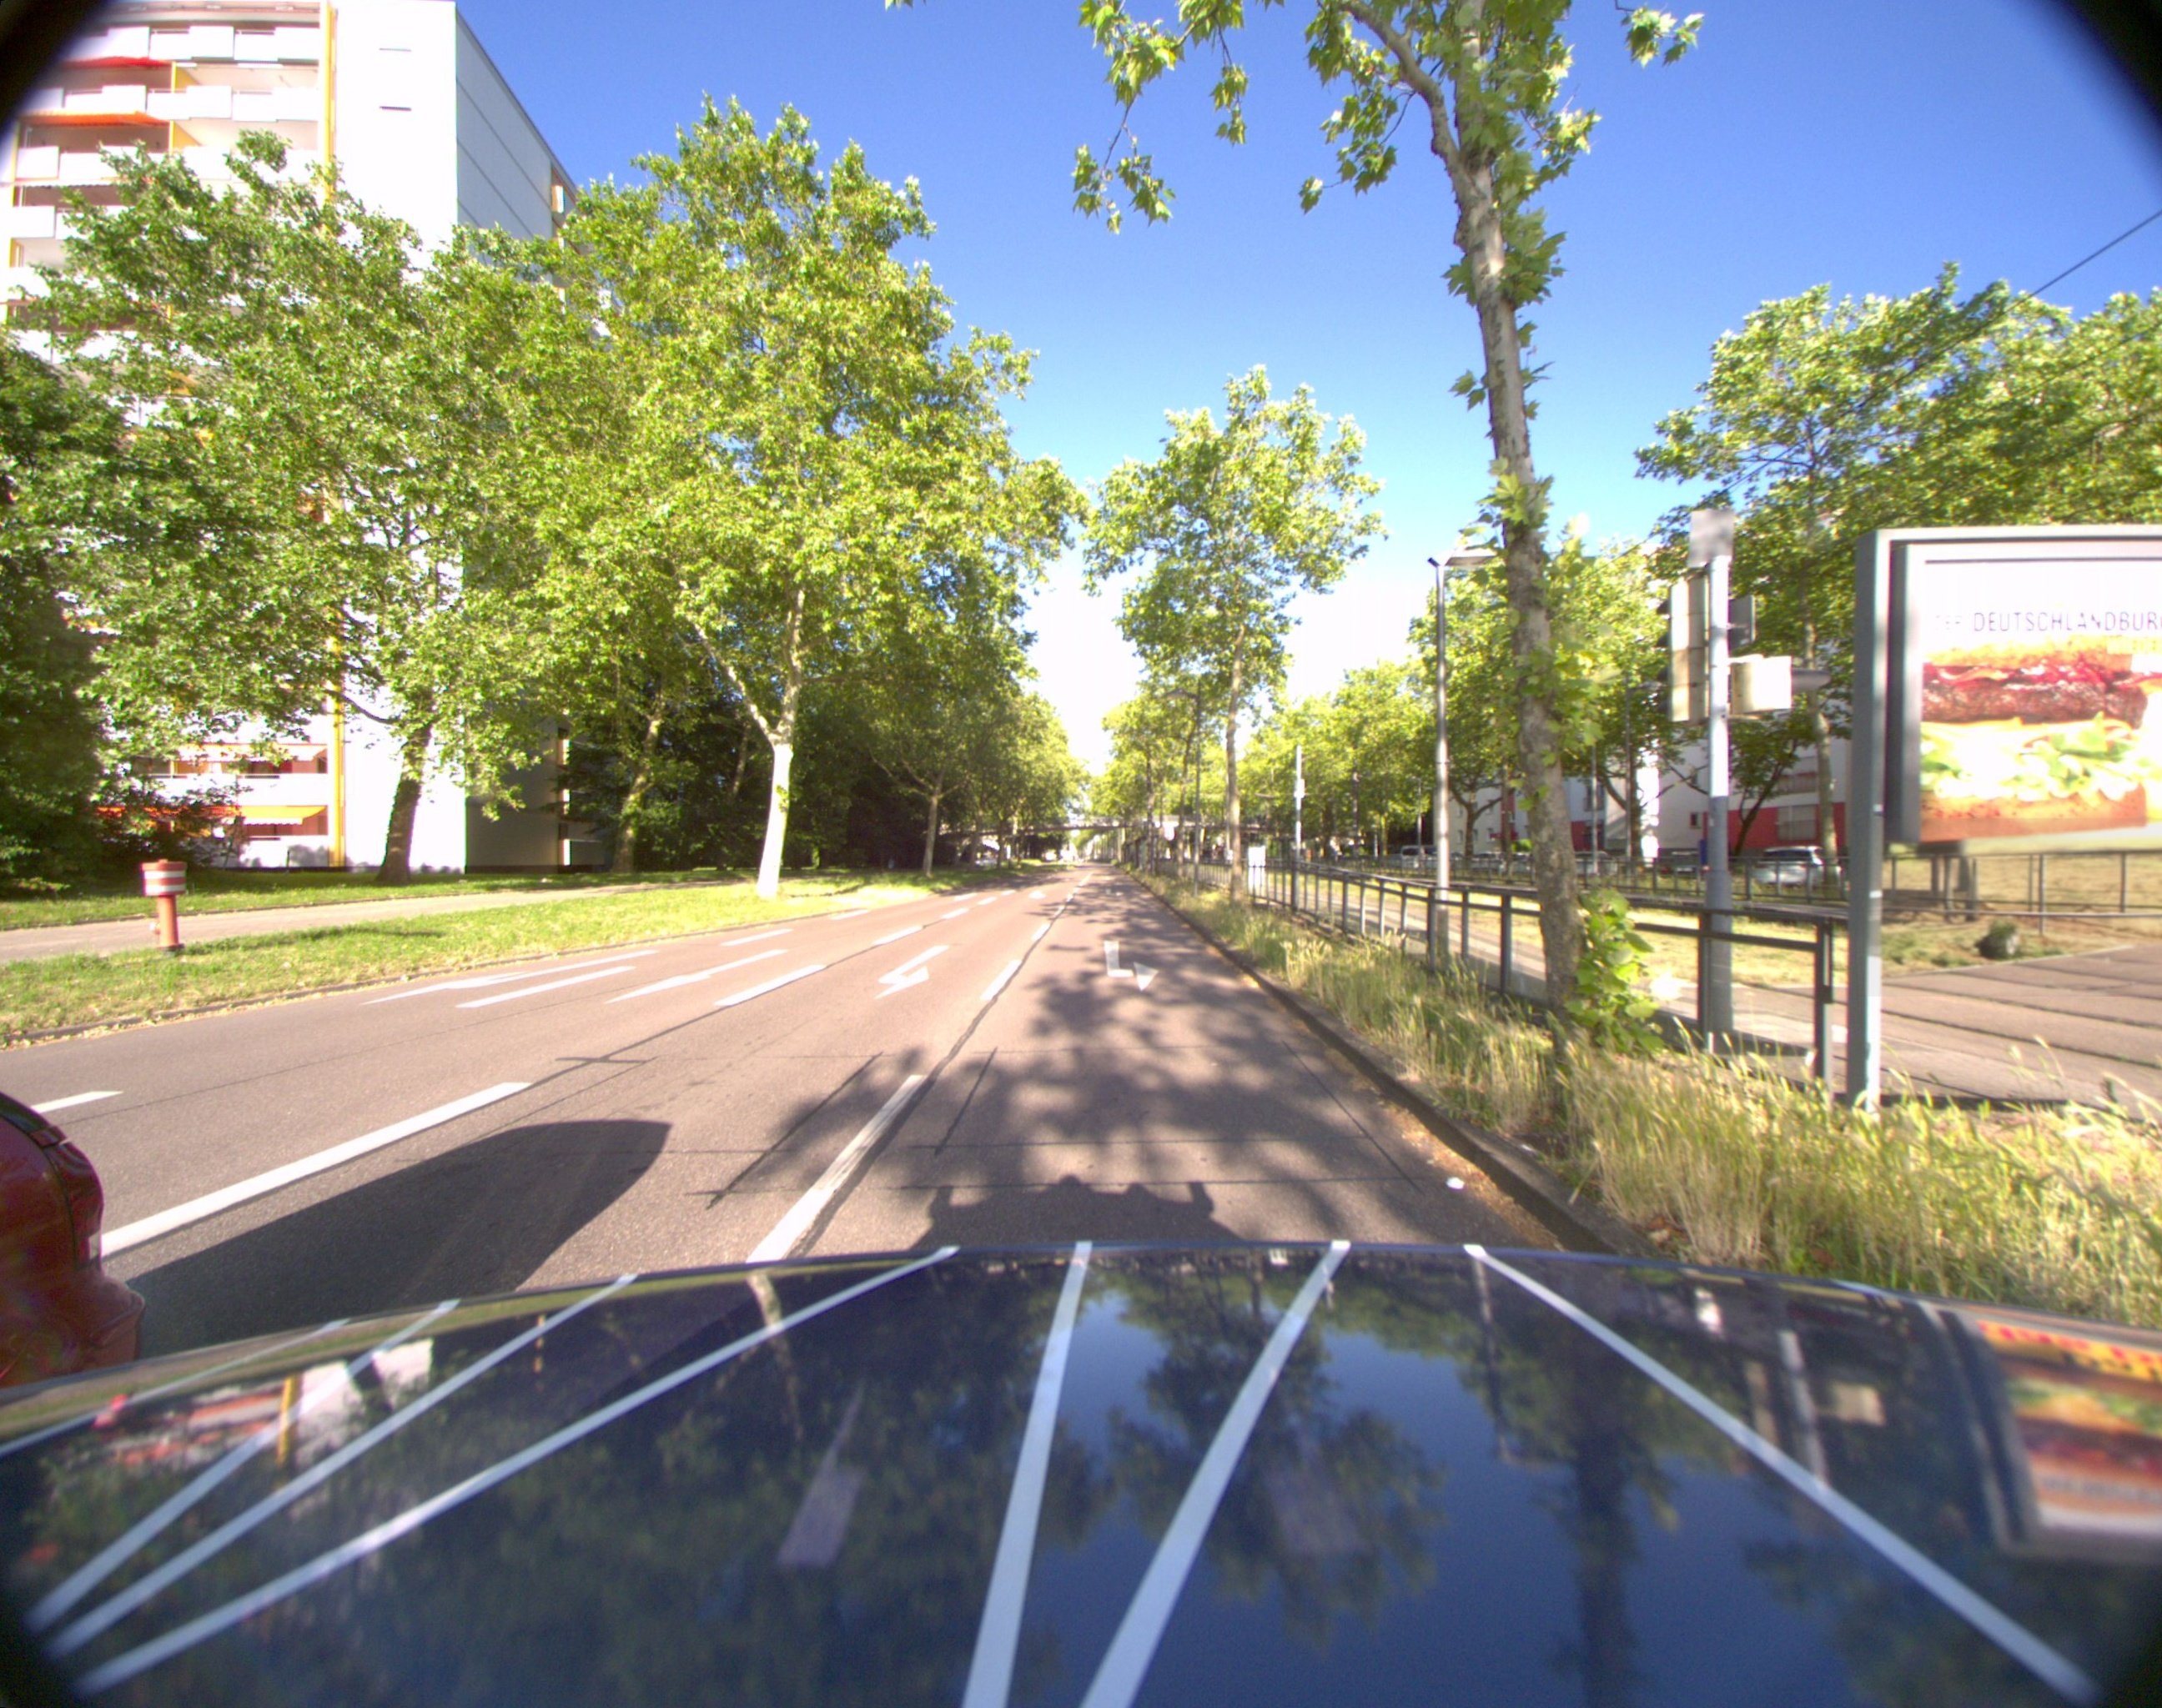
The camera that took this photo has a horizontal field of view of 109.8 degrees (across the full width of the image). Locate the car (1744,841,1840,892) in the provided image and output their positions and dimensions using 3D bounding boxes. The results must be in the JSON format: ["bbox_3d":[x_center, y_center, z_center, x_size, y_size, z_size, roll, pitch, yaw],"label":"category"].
[{"bbox_3d":[25.222,0.407,26.921,4.007,1.586,1.810,-3,1,-37],"label":"car"}]

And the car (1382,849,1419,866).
[{"bbox_3d":[26.907,0.296,63.985,3.494,1.293,1.476,-1,1,-41],"label":"car"}]

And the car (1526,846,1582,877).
[{"bbox_3d":[25.748,0.393,41.347,3.402,1.499,1.461,-3,1,-37],"label":"car"}]

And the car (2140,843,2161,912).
[{"bbox_3d":[24.572,0.537,16.252,4.007,1.479,1.689,-3,1,-44],"label":"car"}]

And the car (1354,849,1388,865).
[{"bbox_3d":[26.611,0.264,69.653,3.494,1.312,1.476,-1,1,-41],"label":"car"}]

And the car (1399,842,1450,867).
[{"bbox_3d":[25.739,0.035,56.875,4.056,1.802,1.864,-1,1,-40],"label":"car"}]

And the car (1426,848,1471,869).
[{"bbox_3d":[26.087,0.324,53.870,3.494,1.395,1.623,-1,1,-41],"label":"car"}]

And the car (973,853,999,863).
[{"bbox_3d":[-15.165,0.619,121.420,3.999,1.465,1.797,-3,1,-8],"label":"car"}]

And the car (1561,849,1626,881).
[{"bbox_3d":[25.517,0.522,37.760,3.890,1.406,1.486,-3,1,-37],"label":"car"}]

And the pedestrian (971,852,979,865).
[{"bbox_3d":[-15.723,0.663,112.342,0.919,2.002,0.962,-3,1,1],"label":"pedestrian"}]

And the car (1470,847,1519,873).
[{"bbox_3d":[25.859,0.351,47.508,3.493,1.417,1.558,-3,-1,-42],"label":"car"}]

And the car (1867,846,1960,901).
[{"bbox_3d":[25.237,0.544,22.992,3.770,1.420,1.555,-3,1,-37],"label":"car"}]

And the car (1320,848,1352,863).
[{"bbox_3d":[26.664,0.150,79.442,3.742,1.517,1.597,-1,1,-43],"label":"car"}]

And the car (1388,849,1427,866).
[{"bbox_3d":[25.912,0.274,60.294,3.494,1.336,1.476,-1,1,-41],"label":"car"}]

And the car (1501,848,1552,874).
[{"bbox_3d":[26.202,0.421,44.677,3.493,1.321,1.476,-3,0,-41],"label":"car"}]

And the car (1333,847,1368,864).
[{"bbox_3d":[26.080,0.118,73.494,3.835,1.561,1.597,-1,1,-43],"label":"car"}]

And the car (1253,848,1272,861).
[{"bbox_3d":[23.005,0.023,96.514,1.810,1.514,4.332,-1,0,5],"label":"car"}]
